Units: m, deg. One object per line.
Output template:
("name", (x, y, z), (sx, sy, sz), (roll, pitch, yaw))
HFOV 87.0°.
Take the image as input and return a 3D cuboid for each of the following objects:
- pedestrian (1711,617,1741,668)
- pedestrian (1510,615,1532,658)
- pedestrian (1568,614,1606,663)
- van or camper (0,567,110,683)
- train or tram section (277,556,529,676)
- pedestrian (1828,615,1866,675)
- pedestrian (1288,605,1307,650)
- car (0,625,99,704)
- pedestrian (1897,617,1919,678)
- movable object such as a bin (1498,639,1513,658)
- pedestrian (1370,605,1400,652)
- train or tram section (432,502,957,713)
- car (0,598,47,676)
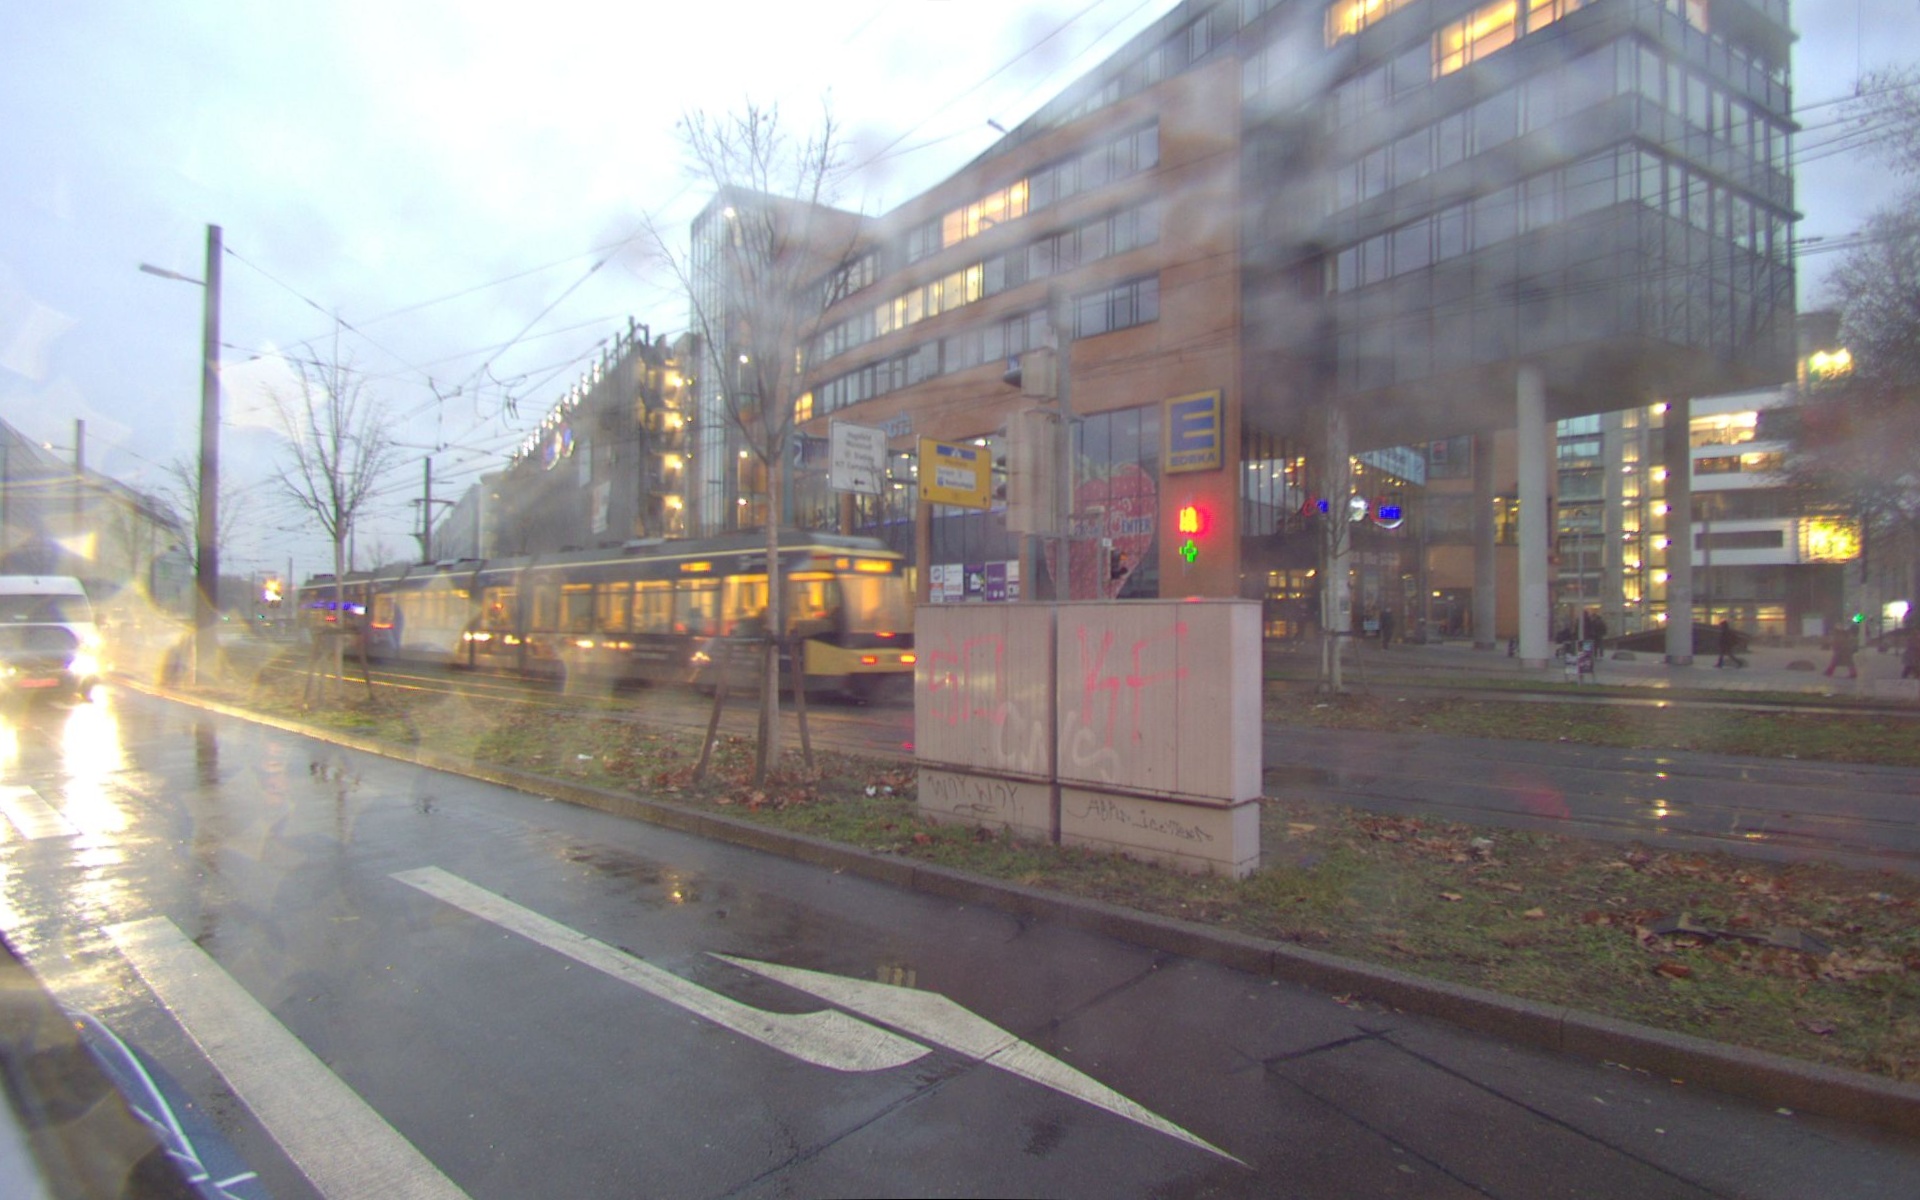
("pedestrian", (26.520, 1.456, 35.022), (0.784, 1.725, 0.647), (-1, -2, 39))
("pedestrian", (21.194, 1.377, 38.255), (0.674, 1.620, 0.449), (-1, -2, 33))
("pedestrian", (22.315, 1.355, 36.029), (0.994, 1.725, 0.787), (1, -2, -34))
("van or camper", (-22.817, 0.613, 24.753), (5.894, 2.551, 2.126), (-1, -2, 40))
("train or tram section", (-22.048, 0.680, 38.698), (20.079, 3.642, 2.832), (-1, -2, 45))
("pedestrian", (26.848, 1.351, 30.643), (0.821, 1.787, 0.564), (-1, -2, 42))
("pedestrian", (13.460, 1.102, 40.341), (0.658, 1.766, 0.534), (0, -2, 12))
("car", (-17.759, 1.188, 19.204), (4.057, 1.355, 1.735), (-3, -3, 43))
("pedestrian", (28.663, 1.412, 30.292), (0.859, 1.818, 0.790), (1, -2, -42))
("movable object such as a bin", (20.759, 1.837, 38.520), (0.484, 0.694, 0.353), (-1, -2, 33))
("pedestrian", (16.231, 1.099, 38.659), (0.782, 1.766, 0.704), (0, -2, -1))
("train or tram section", (-8.005, 0.310, 25.107), (19.214, 3.642, 2.833), (-1, -2, 43))
("car", (-37.672, 1.429, 39.594), (5.809, 2.885, 2.102), (-1, -2, 40))
